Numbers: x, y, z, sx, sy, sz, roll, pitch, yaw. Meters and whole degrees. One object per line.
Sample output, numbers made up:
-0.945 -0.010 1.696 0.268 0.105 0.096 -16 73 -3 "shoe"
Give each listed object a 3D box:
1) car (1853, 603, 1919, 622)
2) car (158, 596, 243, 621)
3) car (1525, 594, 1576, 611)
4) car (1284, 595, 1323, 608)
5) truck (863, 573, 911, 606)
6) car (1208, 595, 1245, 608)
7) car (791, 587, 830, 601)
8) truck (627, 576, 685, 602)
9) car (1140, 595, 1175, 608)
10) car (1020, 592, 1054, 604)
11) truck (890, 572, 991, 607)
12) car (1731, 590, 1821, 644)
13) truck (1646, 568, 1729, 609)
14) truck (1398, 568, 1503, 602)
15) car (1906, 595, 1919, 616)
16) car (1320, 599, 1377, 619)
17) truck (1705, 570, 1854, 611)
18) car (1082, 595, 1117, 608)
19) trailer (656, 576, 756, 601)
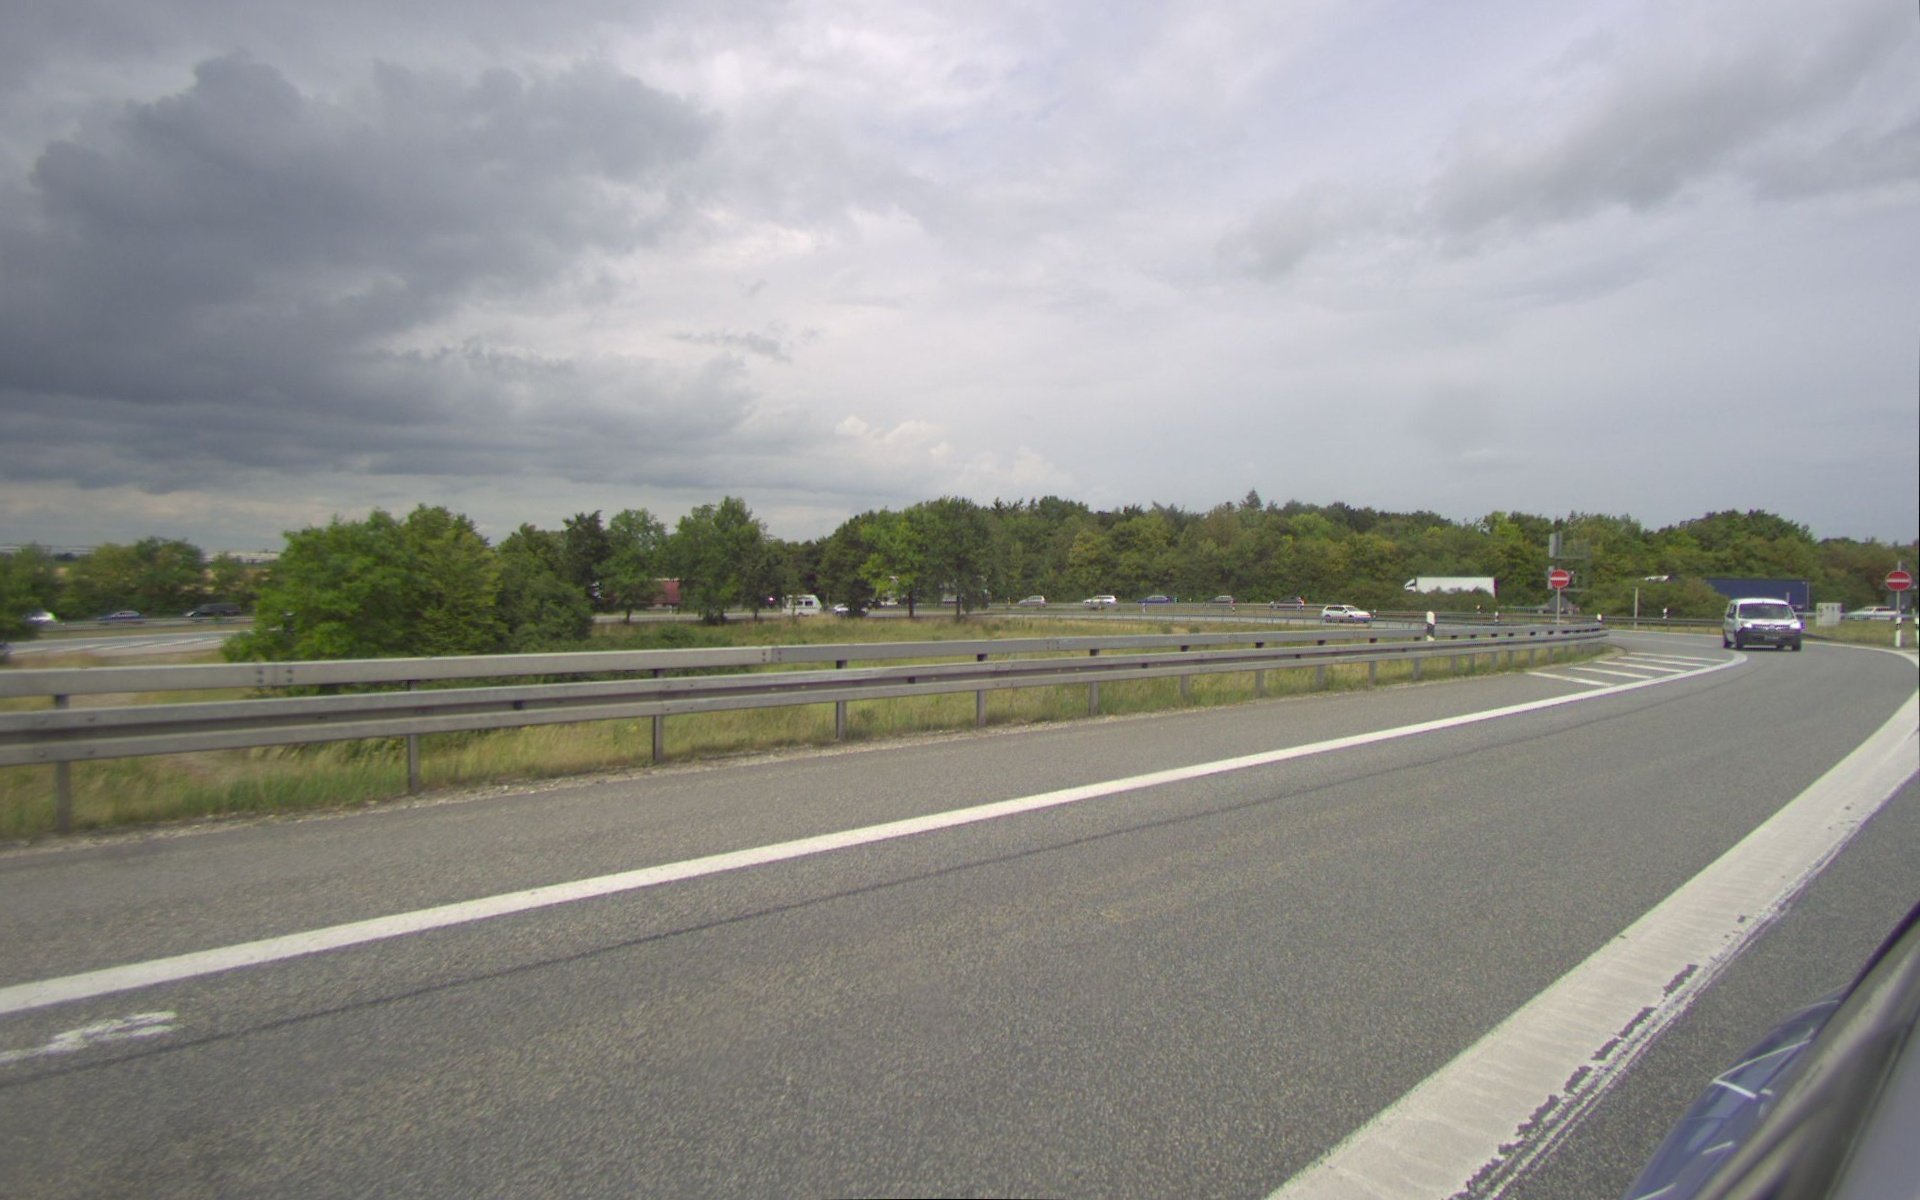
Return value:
88.370 1.203 96.559 4.417 1.807 1.998 0 0 5 "car"
-80.881 0.861 107.920 6.951 2.602 2.767 0 0 -32 "car"
56.336 0.236 96.670 3.951 1.569 1.726 0 0 21 "car"
38.163 0.159 112.358 3.962 1.418 1.543 0 0 28 "car"
-9.549 -1.380 131.993 5.716 4.232 2.679 0 -1 17 "truck"
30.747 0.144 116.854 3.958 1.468 1.545 0 0 25 "car"
-17.844 -0.683 121.085 4.268 1.675 2.033 0 -1 3 "car"
-39.283 -1.456 130.979 6.795 3.308 3.203 0 0 -11 "truck"
23.377 0.144 119.762 3.951 1.512 1.548 0 0 21 "car"
9.591 -0.252 126.266 3.950 1.498 1.693 -1 -1 20 "car"
-2.559 -1.336 129.839 12.836 4.296 2.681 0 0 17 "truck"
28.052 0.541 34.914 1.848 1.768 3.956 0 0 31 "car"
71.089 -1.091 98.984 5.823 3.851 2.898 0 -1 5 "truck"
51.225 -1.505 105.978 9.772 3.446 2.672 0 0 25 "truck"
95.801 0.509 98.697 5.832 2.039 2.003 0 0 -8 "car"
32.430 0.728 84.652 1.691 1.560 4.489 0 0 -27 "car"
79.373 -0.926 98.208 11.583 3.907 2.843 0 0 5 "truck"
16.976 0.173 123.122 3.952 1.577 1.786 0 0 22 "car"
-32.939 -1.472 131.851 12.300 3.169 3.269 0 0 -7 "trailer"
